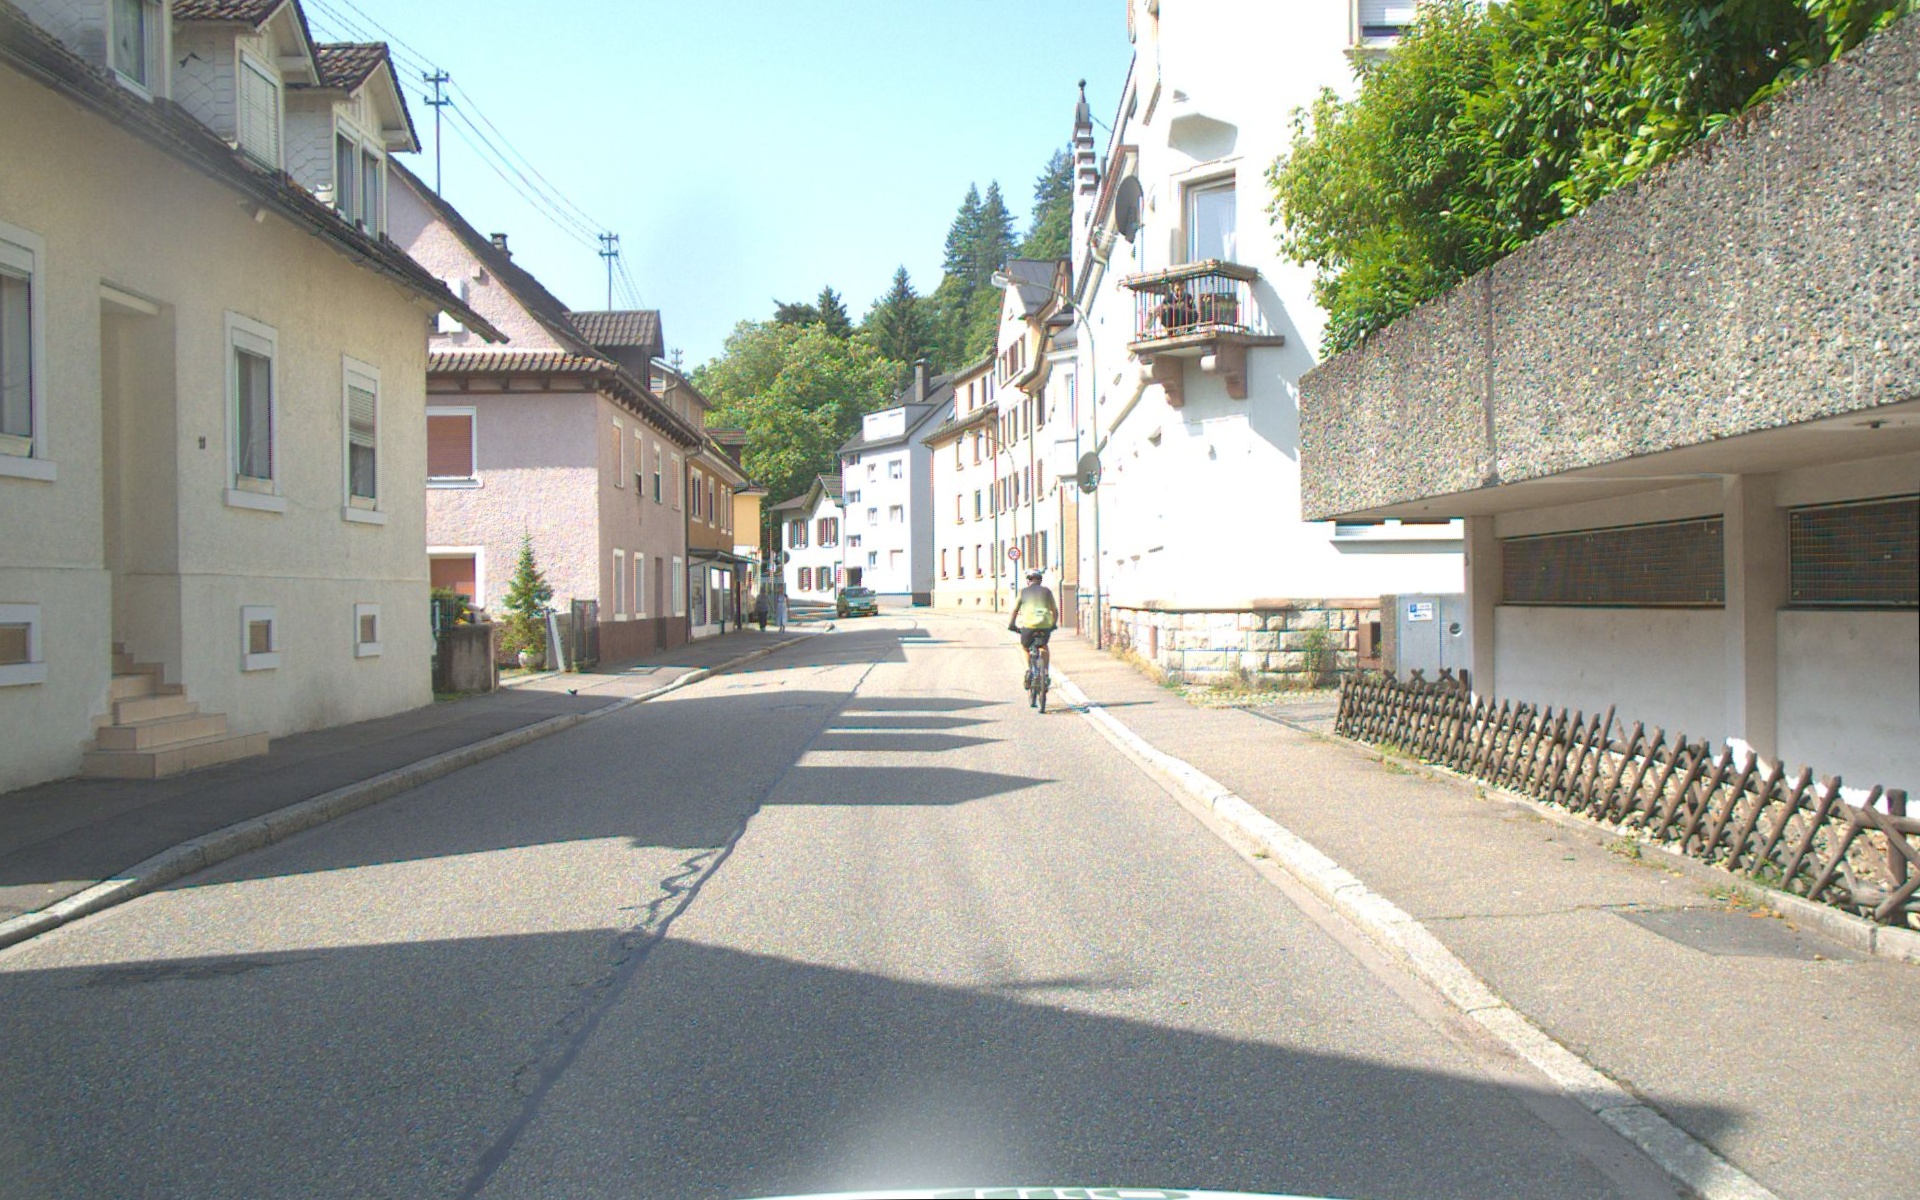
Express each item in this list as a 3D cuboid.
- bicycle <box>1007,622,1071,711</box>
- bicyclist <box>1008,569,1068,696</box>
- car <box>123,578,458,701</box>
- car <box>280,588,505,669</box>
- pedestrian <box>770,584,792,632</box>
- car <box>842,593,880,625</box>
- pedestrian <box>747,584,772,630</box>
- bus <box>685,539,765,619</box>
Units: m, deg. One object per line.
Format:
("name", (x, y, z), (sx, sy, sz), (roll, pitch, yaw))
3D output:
("bicycle", (0.996, 0.823, 21.053), (0.684, 1.053, 1.470), (0, 1, -2))
("bicyclist", (0.981, 0.402, 20.923), (0.672, 1.558, 0.715), (-1, 0, -3))
("car", (-9.242, 0.524, 23.091), (3.908, 1.621, 1.906), (0, 0, -4))
("car", (-10.582, 0.513, 31.027), (3.676, 1.417, 1.644), (1, 1, -4))
("pedestrian", (-6.376, 0.270, 58.862), (0.626, 1.654, 0.777), (2, 0, -1))
("car", (-5.023, 0.440, 83.711), (1.567, 1.489, 3.653), (-4, 0, -8))
("pedestrian", (-7.143, 0.252, 59.041), (0.720, 1.592, 0.824), (2, 0, -1))
("bus", (-10.201, -0.901, 72.632), (2.764, 3.284, 9.029), (1, 0, -4))
